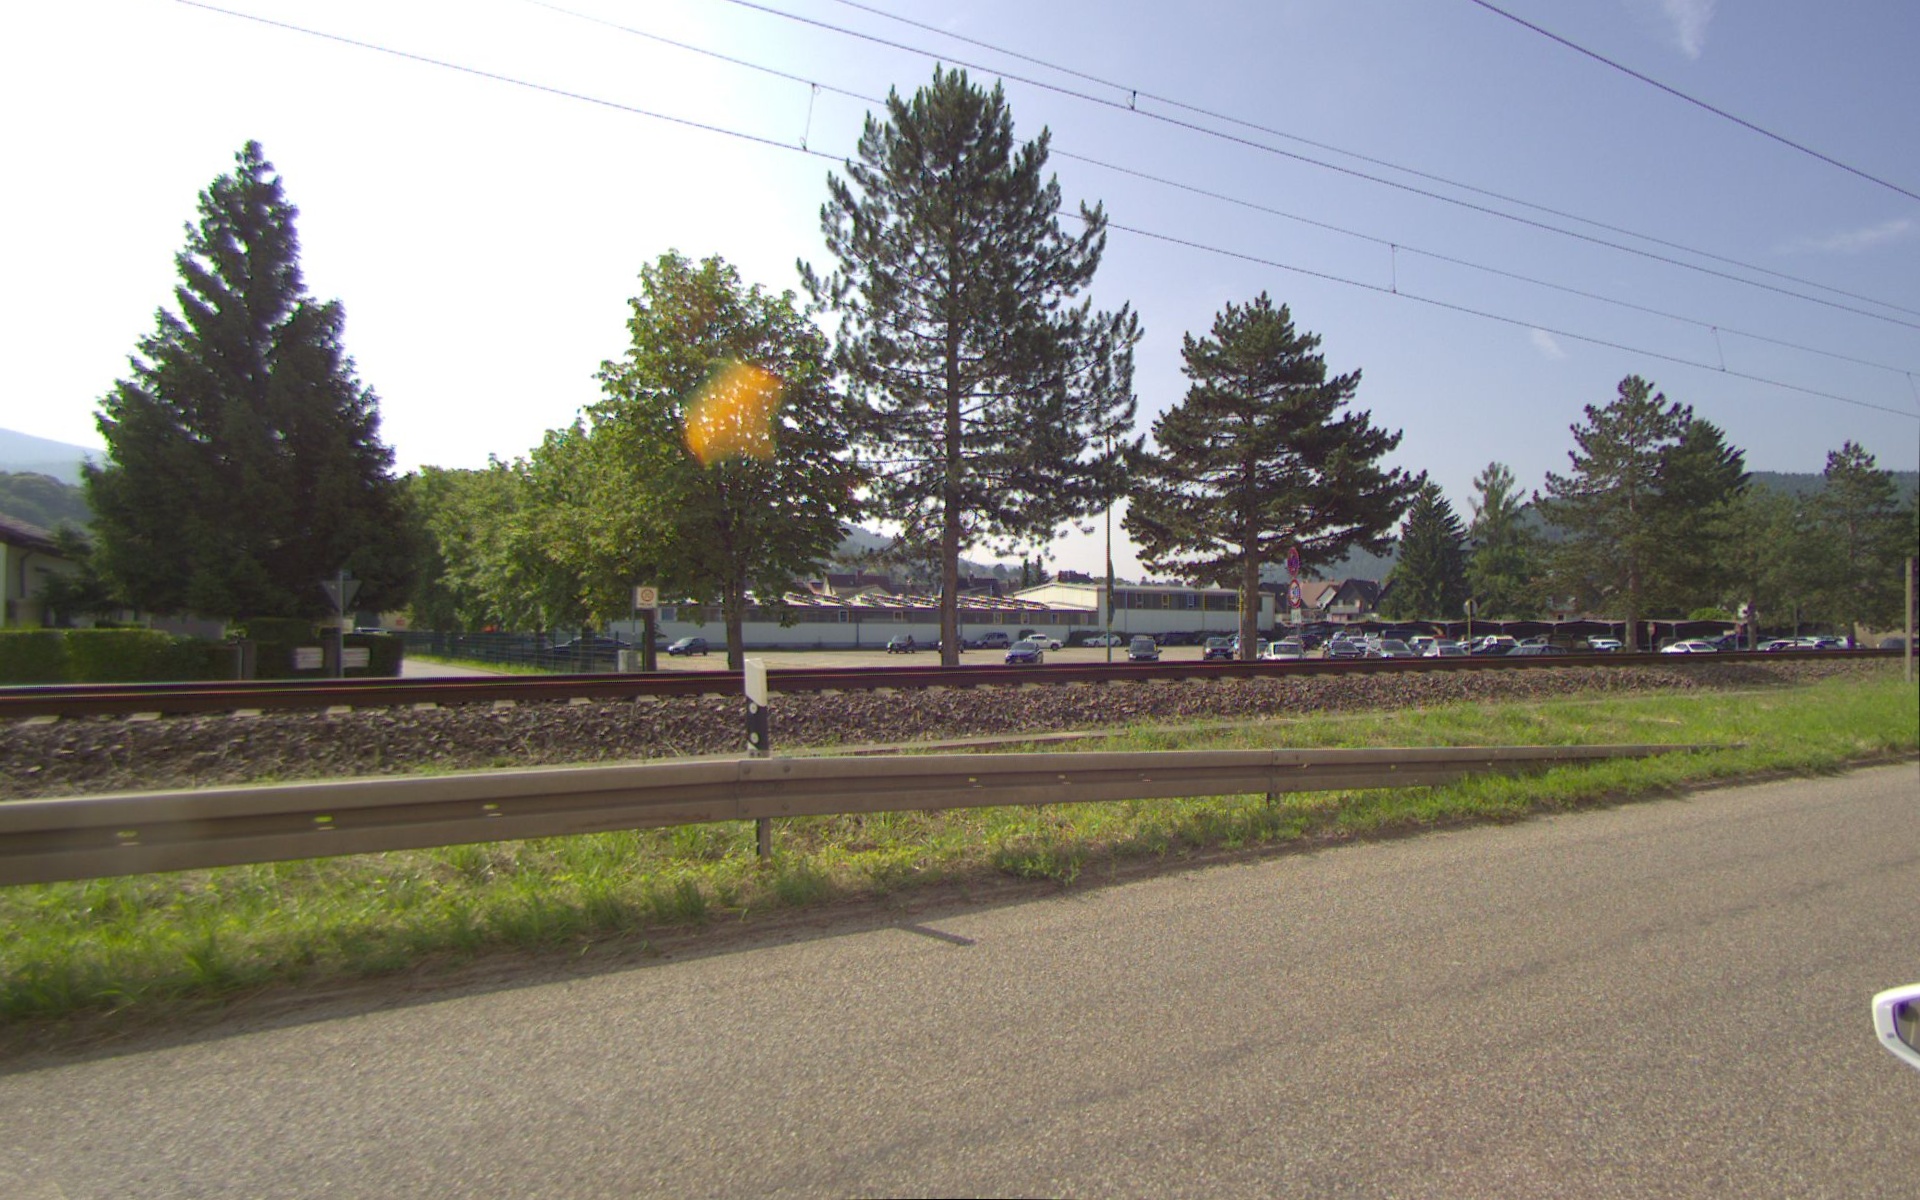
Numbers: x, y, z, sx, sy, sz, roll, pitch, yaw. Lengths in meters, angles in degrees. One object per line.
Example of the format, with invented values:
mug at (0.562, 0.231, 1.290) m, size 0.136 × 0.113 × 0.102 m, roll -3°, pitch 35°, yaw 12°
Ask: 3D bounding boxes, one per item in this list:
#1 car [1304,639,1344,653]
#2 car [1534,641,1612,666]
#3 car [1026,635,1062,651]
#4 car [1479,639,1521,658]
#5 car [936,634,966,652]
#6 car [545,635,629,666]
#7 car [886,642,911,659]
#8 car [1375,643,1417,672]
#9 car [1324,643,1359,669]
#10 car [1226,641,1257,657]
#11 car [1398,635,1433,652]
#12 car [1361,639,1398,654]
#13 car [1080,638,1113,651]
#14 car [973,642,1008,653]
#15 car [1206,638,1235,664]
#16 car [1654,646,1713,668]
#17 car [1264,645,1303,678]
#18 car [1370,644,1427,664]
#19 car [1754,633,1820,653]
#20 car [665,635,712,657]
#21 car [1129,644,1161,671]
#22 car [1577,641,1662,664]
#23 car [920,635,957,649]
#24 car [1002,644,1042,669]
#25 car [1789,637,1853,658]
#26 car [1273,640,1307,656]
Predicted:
car at (35.622, 4.491, 98.377) m, size 3.465 × 1.342 × 1.458 m, roll -1°, pitch -2°, yaw 10°
car at (34.594, 3.007, 56.732) m, size 3.450 × 1.375 × 1.520 m, roll -1°, pitch -2°, yaw 15°
car at (8.303, 4.257, 99.528) m, size 3.465 × 1.543 × 1.568 m, roll 0°, pitch -2°, yaw 4°
car at (40.284, 3.590, 75.006) m, size 1.428 × 1.342 × 3.539 m, roll 0°, pitch -2°, yaw 4°
car at (-0.792, 3.867, 91.017) m, size 1.536 × 1.543 × 3.536 m, roll -1°, pitch -2°, yaw 22°
car at (-20.261, 2.718, 54.627) m, size 3.965 × 1.568 × 1.666 m, roll 1°, pitch -2°, yaw -39°
car at (-5.614, 4.564, 91.264) m, size 1.963 × 1.461 × 3.995 m, roll 0°, pitch -2°, yaw -9°
car at (24.082, 3.165, 55.571) m, size 1.654 × 1.526 × 3.854 m, roll -1°, pitch -2°, yaw 17°
car at (22.171, 3.224, 58.449) m, size 1.654 × 1.408 × 3.854 m, roll -1°, pitch -2°, yaw 17°
car at (24.810, 4.300, 88.643) m, size 1.430 × 1.342 × 3.533 m, roll 0°, pitch -2°, yaw -7°
car at (36.638, 3.507, 80.846) m, size 1.428 × 1.342 × 3.539 m, roll 0°, pitch -2°, yaw 4°
car at (37.399, 4.127, 89.663) m, size 1.430 × 1.342 × 3.533 m, roll 0°, pitch -2°, yaw -7°
car at (15.072, 4.887, 111.118) m, size 3.495 × 1.342 × 1.446 m, roll 1°, pitch -2°, yaw -30°
car at (3.133, 4.952, 104.288) m, size 3.495 × 1.125 × 1.328 m, roll 1°, pitch -2°, yaw -30°
car at (17.048, 3.304, 65.749) m, size 1.654 × 1.664 × 3.854 m, roll -1°, pitch -2°, yaw 17°
car at (46.989, 3.696, 65.287) m, size 1.428 × 1.342 × 3.539 m, roll 0°, pitch -2°, yaw 4°
car at (15.422, 2.905, 47.989) m, size 1.654 × 1.462 × 3.854 m, roll -1°, pitch -2°, yaw 17°
car at (29.893, 3.673, 68.508) m, size 3.274 × 1.285 × 1.458 m, roll 0°, pitch -2°, yaw 8°
car at (68.702, 3.574, 83.455) m, size 1.801 × 1.557 × 3.958 m, roll 1°, pitch -1°, yaw -37°
car at (-21.533, 3.648, 79.841) m, size 1.655 × 1.664 × 3.852 m, roll -1°, pitch -2°, yaw 22°
car at (10.379, 3.197, 56.295) m, size 1.654 × 1.425 × 3.855 m, roll -1°, pitch -2°, yaw 12°
car at (38.053, 3.022, 57.994) m, size 3.779 × 1.342 × 1.566 m, roll -1°, pitch -2°, yaw 10°
car at (-2.120, 4.202, 101.034) m, size 3.495 × 1.342 × 1.446 m, roll 1°, pitch -2°, yaw -30°
car at (3.626, 3.220, 58.075) m, size 1.654 × 1.350 × 3.855 m, roll -1°, pitch -2°, yaw 13°
car at (74.524, 4.120, 86.952) m, size 1.801 × 1.688 × 3.958 m, roll 1°, pitch -1°, yaw -37°
car at (29.023, 4.198, 88.375) m, size 1.430 × 1.342 × 3.533 m, roll 0°, pitch -2°, yaw -7°
